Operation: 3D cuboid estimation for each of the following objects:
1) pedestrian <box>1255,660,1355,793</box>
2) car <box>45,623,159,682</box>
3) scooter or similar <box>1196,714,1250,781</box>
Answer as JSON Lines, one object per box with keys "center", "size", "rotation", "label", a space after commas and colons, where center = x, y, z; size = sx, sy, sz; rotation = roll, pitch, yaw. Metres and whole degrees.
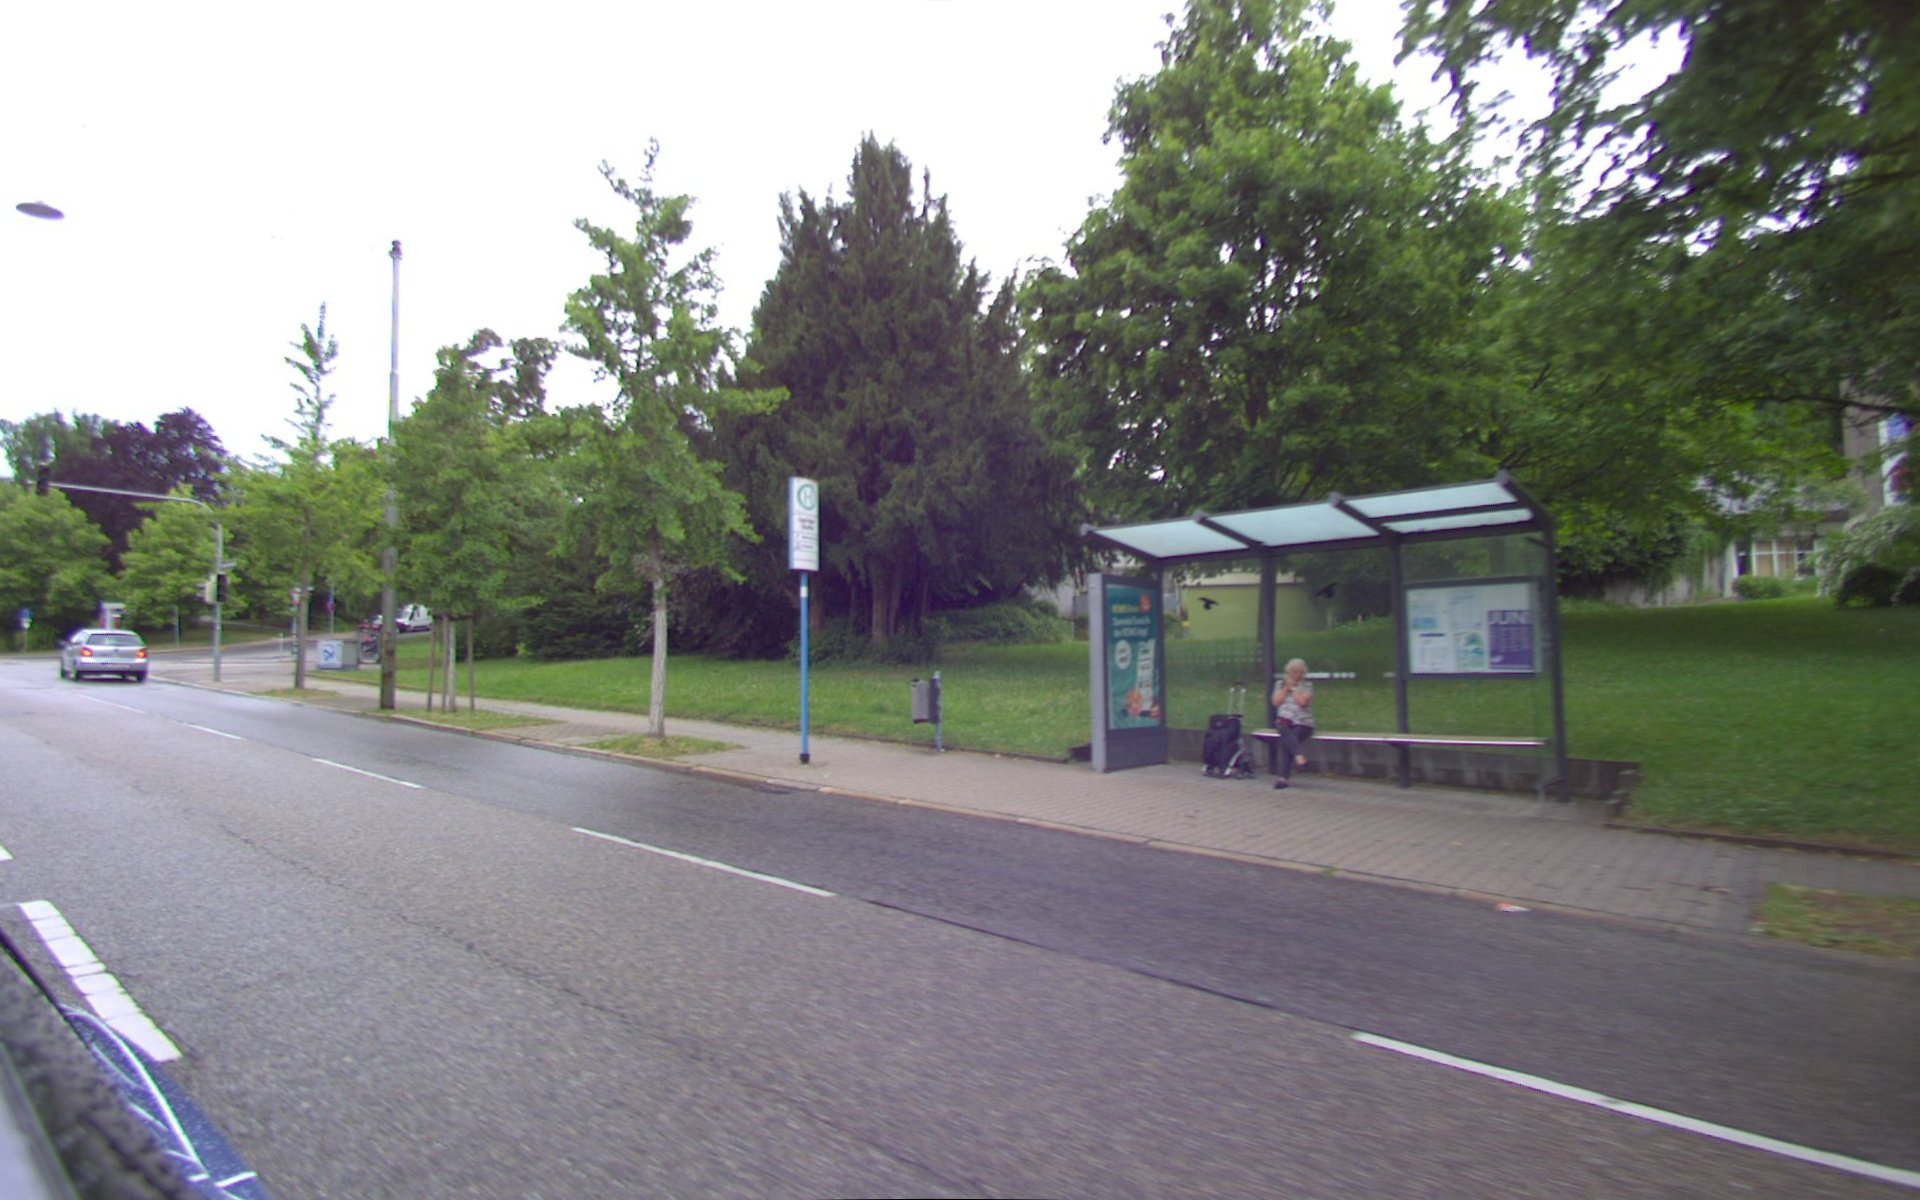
{"center": [3.718, 1.325, 10.909], "size": [0.766, 1.311, 0.745], "rotation": [1, -2, -41], "label": "pedestrian"}
{"center": [-24.810, 1.498, 29.233], "size": [3.998, 1.561, 1.852], "rotation": [-1, -5, 41], "label": "car"}
{"center": [2.952, 1.653, 11.384], "size": [0.244, 0.671, 0.533], "rotation": [-1, 0, -45], "label": "scooter or similar"}
